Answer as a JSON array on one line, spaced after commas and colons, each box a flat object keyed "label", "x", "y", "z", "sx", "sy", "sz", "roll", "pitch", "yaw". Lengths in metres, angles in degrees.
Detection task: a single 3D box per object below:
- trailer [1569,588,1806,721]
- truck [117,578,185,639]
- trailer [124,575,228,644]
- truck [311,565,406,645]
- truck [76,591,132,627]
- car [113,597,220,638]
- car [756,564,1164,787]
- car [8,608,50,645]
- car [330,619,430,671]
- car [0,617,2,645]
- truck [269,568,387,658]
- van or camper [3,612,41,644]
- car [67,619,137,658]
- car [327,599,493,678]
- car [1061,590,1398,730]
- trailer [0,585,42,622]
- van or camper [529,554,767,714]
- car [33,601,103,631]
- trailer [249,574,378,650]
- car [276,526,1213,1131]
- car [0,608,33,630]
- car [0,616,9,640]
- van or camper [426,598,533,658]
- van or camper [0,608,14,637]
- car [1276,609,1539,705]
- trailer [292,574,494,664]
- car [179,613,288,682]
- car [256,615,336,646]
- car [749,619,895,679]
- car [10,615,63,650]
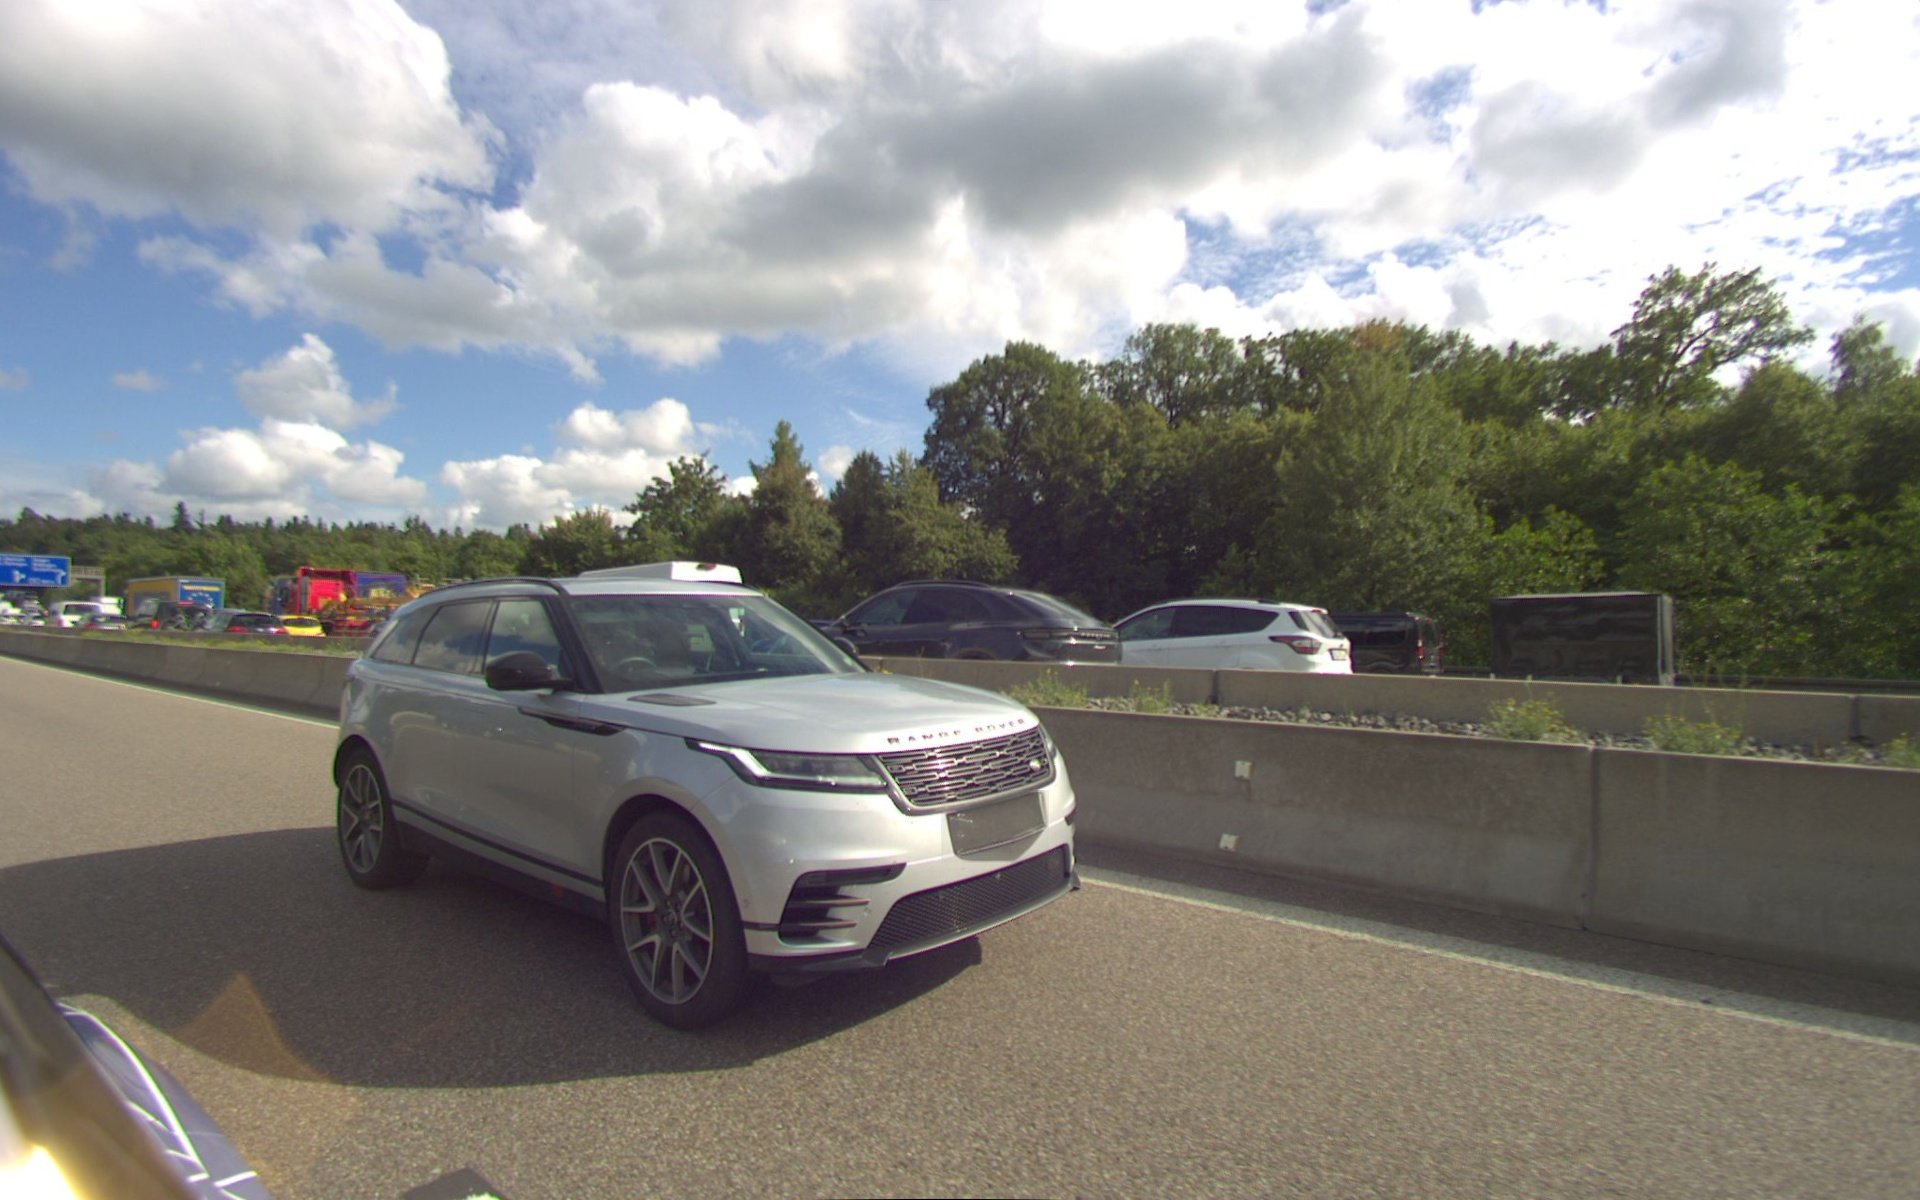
[{"label": "trailer", "x": 14.563, "y": 1.034, "z": 20.313, "sx": 3.691, "sy": 2.388, "sz": 2.167, "roll": 1, "pitch": -3, "yaw": 40}, {"label": "truck", "x": -57.697, "y": 0.529, "z": 72.142, "sx": 5.613, "sy": 4.179, "sz": 2.708, "roll": 1, "pitch": 1, "yaw": 40}, {"label": "trailer", "x": -53.001, "y": 0.501, "z": 68.204, "sx": 13.649, "sy": 4.266, "sz": 2.743, "roll": 1, "pitch": 1, "yaw": 40}, {"label": "truck", "x": -33.203, "y": 0.349, "z": 55.809, "sx": 5.448, "sy": 4.181, "sz": 2.783, "roll": -1, "pitch": -3, "yaw": 40}, {"label": "truck", "x": -71.428, "y": 0.731, "z": 84.422, "sx": 7.944, "sy": 2.822, "sz": 2.304, "roll": -1, "pitch": 1, "yaw": 41}, {"label": "car", "x": -28.872, "y": 0.622, "z": 36.740, "sx": 6.227, "sy": 1.359, "sz": 1.796, "roll": -1, "pitch": 0, "yaw": 40}, {"label": "car", "x": -0.163, "y": 0.723, "z": 11.437, "sx": 4.518, "sy": 2.029, "sz": 1.862, "roll": -1, "pitch": -1, "yaw": 42}, {"label": "car", "x": -80.813, "y": 2.266, "z": 87.805, "sx": 5.399, "sy": 2.985, "sz": 1.973, "roll": -1, "pitch": 1, "yaw": 41}, {"label": "car", "x": -19.552, "y": 1.472, "z": 34.048, "sx": 3.997, "sy": 1.603, "sz": 1.620, "roll": -1, "pitch": 0, "yaw": 40}, {"label": "car", "x": -71.242, "y": 2.207, "z": 73.547, "sx": 4.408, "sy": 2.029, "sz": 1.973, "roll": 1, "pitch": 0, "yaw": 41}, {"label": "truck", "x": -30.068, "y": 0.605, "z": 48.027, "sx": 6.847, "sy": 3.968, "sz": 2.748, "roll": -1, "pitch": -1, "yaw": 40}, {"label": "van or camper", "x": -87.666, "y": 2.558, "z": 94.537, "sx": 5.748, "sy": 2.731, "sz": 2.024, "roll": 1, "pitch": 1, "yaw": 41}, {"label": "car", "x": -37.995, "y": 1.662, "z": 44.795, "sx": 3.997, "sy": 1.615, "sz": 1.706, "roll": -1, "pitch": 0, "yaw": 40}, {"label": "car", "x": -12.349, "y": 0.821, "z": 22.620, "sx": 4.285, "sy": 1.603, "sz": 1.817, "roll": -1, "pitch": -1, "yaw": 40}, {"label": "car", "x": 3.567, "y": 0.673, "z": 13.785, "sx": 3.999, "sy": 1.608, "sz": 1.972, "roll": 1, "pitch": 1, "yaw": 42}, {"label": "trailer", "x": -108.392, "y": 0.329, "z": 115.975, "sx": 15.996, "sy": 4.004, "sz": 2.801, "roll": 1, "pitch": 1, "yaw": 41}, {"label": "van or camper", "x": -7.262, "y": 0.718, "z": 23.102, "sx": 6.239, "sy": 3.196, "sz": 2.117, "roll": -1, "pitch": 0, "yaw": 40}, {"label": "car", "x": -44.596, "y": 0.753, "z": 50.562, "sx": 5.484, "sy": 1.364, "sz": 1.831, "roll": 1, "pitch": 1, "yaw": 40}, {"label": "trailer", "x": -39.308, "y": 0.639, "z": 61.179, "sx": 14.035, "sy": 4.150, "sz": 2.780, "roll": 0, "pitch": 1, "yaw": 41}, {"label": "car", "x": -1.505, "y": 0.628, "z": 5.086, "sx": 5.101, "sy": 1.619, "sz": 1.881, "roll": 0, "pitch": -1, "yaw": 40}, {"label": "car", "x": -61.996, "y": 1.251, "z": 66.049, "sx": 3.997, "sy": 1.387, "sz": 1.739, "roll": -1, "pitch": -1, "yaw": 40}, {"label": "car", "x": -73.618, "y": 2.121, "z": 76.536, "sx": 4.292, "sy": 1.756, "sz": 1.973, "roll": -1, "pitch": 1, "yaw": 41}, {"label": "van or camper", "x": -26.487, "y": 1.466, "z": 55.664, "sx": 7.189, "sy": 3.100, "sz": 2.546, "roll": -1, "pitch": -1, "yaw": 40}, {"label": "van or camper", "x": -97.807, "y": 2.276, "z": 102.387, "sx": 6.628, "sy": 2.731, "sz": 2.366, "roll": 1, "pitch": 1, "yaw": 41}, {"label": "car", "x": 10.345, "y": 1.268, "z": 23.680, "sx": 5.284, "sy": 1.921, "sz": 1.926, "roll": 1, "pitch": -3, "yaw": 41}, {"label": "trailer", "x": -24.764, "y": 0.840, "z": 43.563, "sx": 14.207, "sy": 3.361, "sz": 2.700, "roll": -1, "pitch": -1, "yaw": 40}, {"label": "car", "x": -22.030, "y": 1.364, "z": 30.625, "sx": 4.292, "sy": 1.829, "sz": 1.670, "roll": 1, "pitch": 1, "yaw": 40}, {"label": "car", "x": -26.639, "y": 1.188, "z": 40.567, "sx": 3.997, "sy": 1.135, "sz": 1.569, "roll": -1, "pitch": 0, "yaw": 40}, {"label": "car", "x": -4.202, "y": 1.399, "z": 30.415, "sx": 4.426, "sy": 1.547, "sz": 1.972, "roll": 1, "pitch": 1, "yaw": 42}, {"label": "car", "x": -52.967, "y": 1.844, "z": 58.019, "sx": 4.292, "sy": 1.829, "sz": 1.670, "roll": 1, "pitch": 1, "yaw": 40}]
